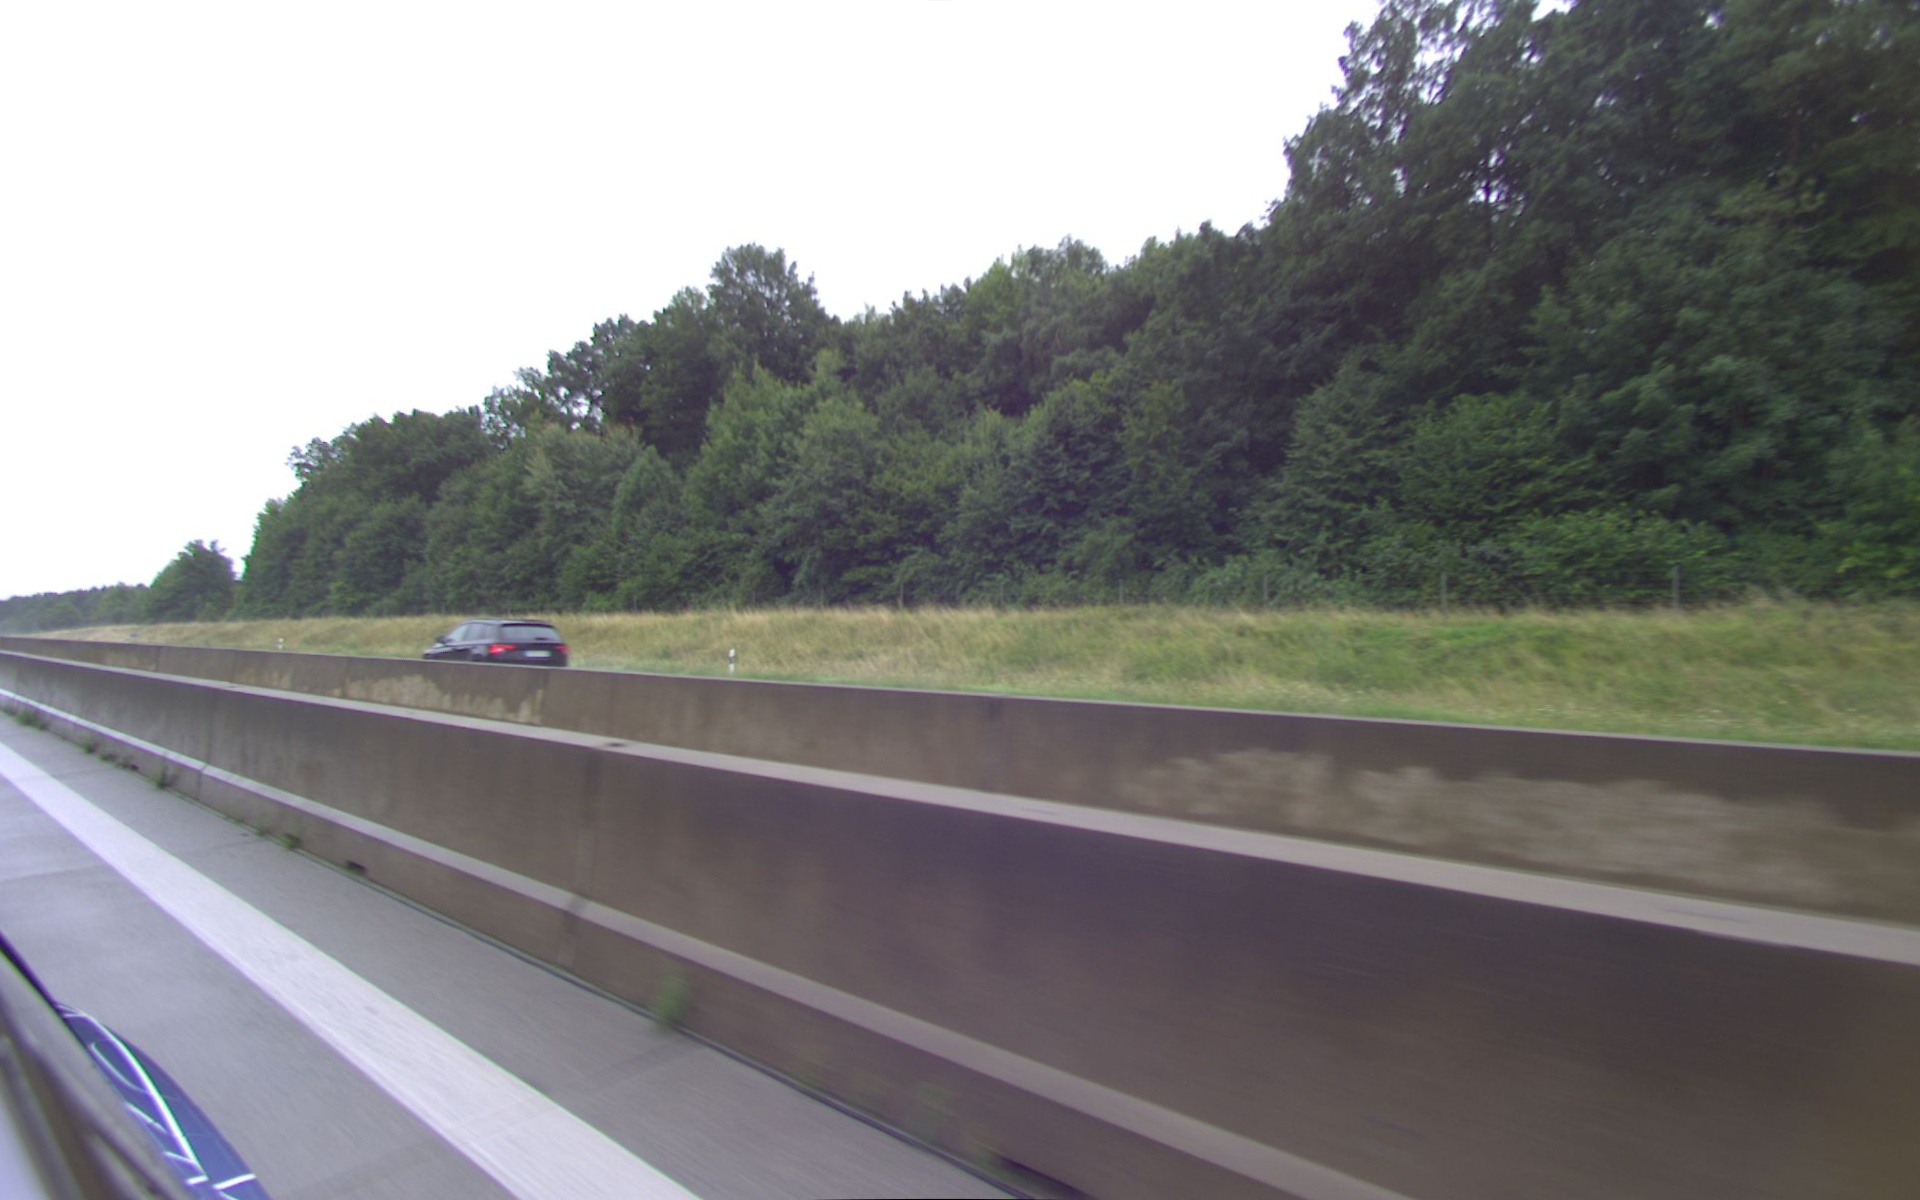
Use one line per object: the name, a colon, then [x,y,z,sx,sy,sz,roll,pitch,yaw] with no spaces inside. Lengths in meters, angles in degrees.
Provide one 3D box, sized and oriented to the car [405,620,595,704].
car: [-10.005,1.260,21.840,4.851,1.622,1.947,-1,-2,42]
